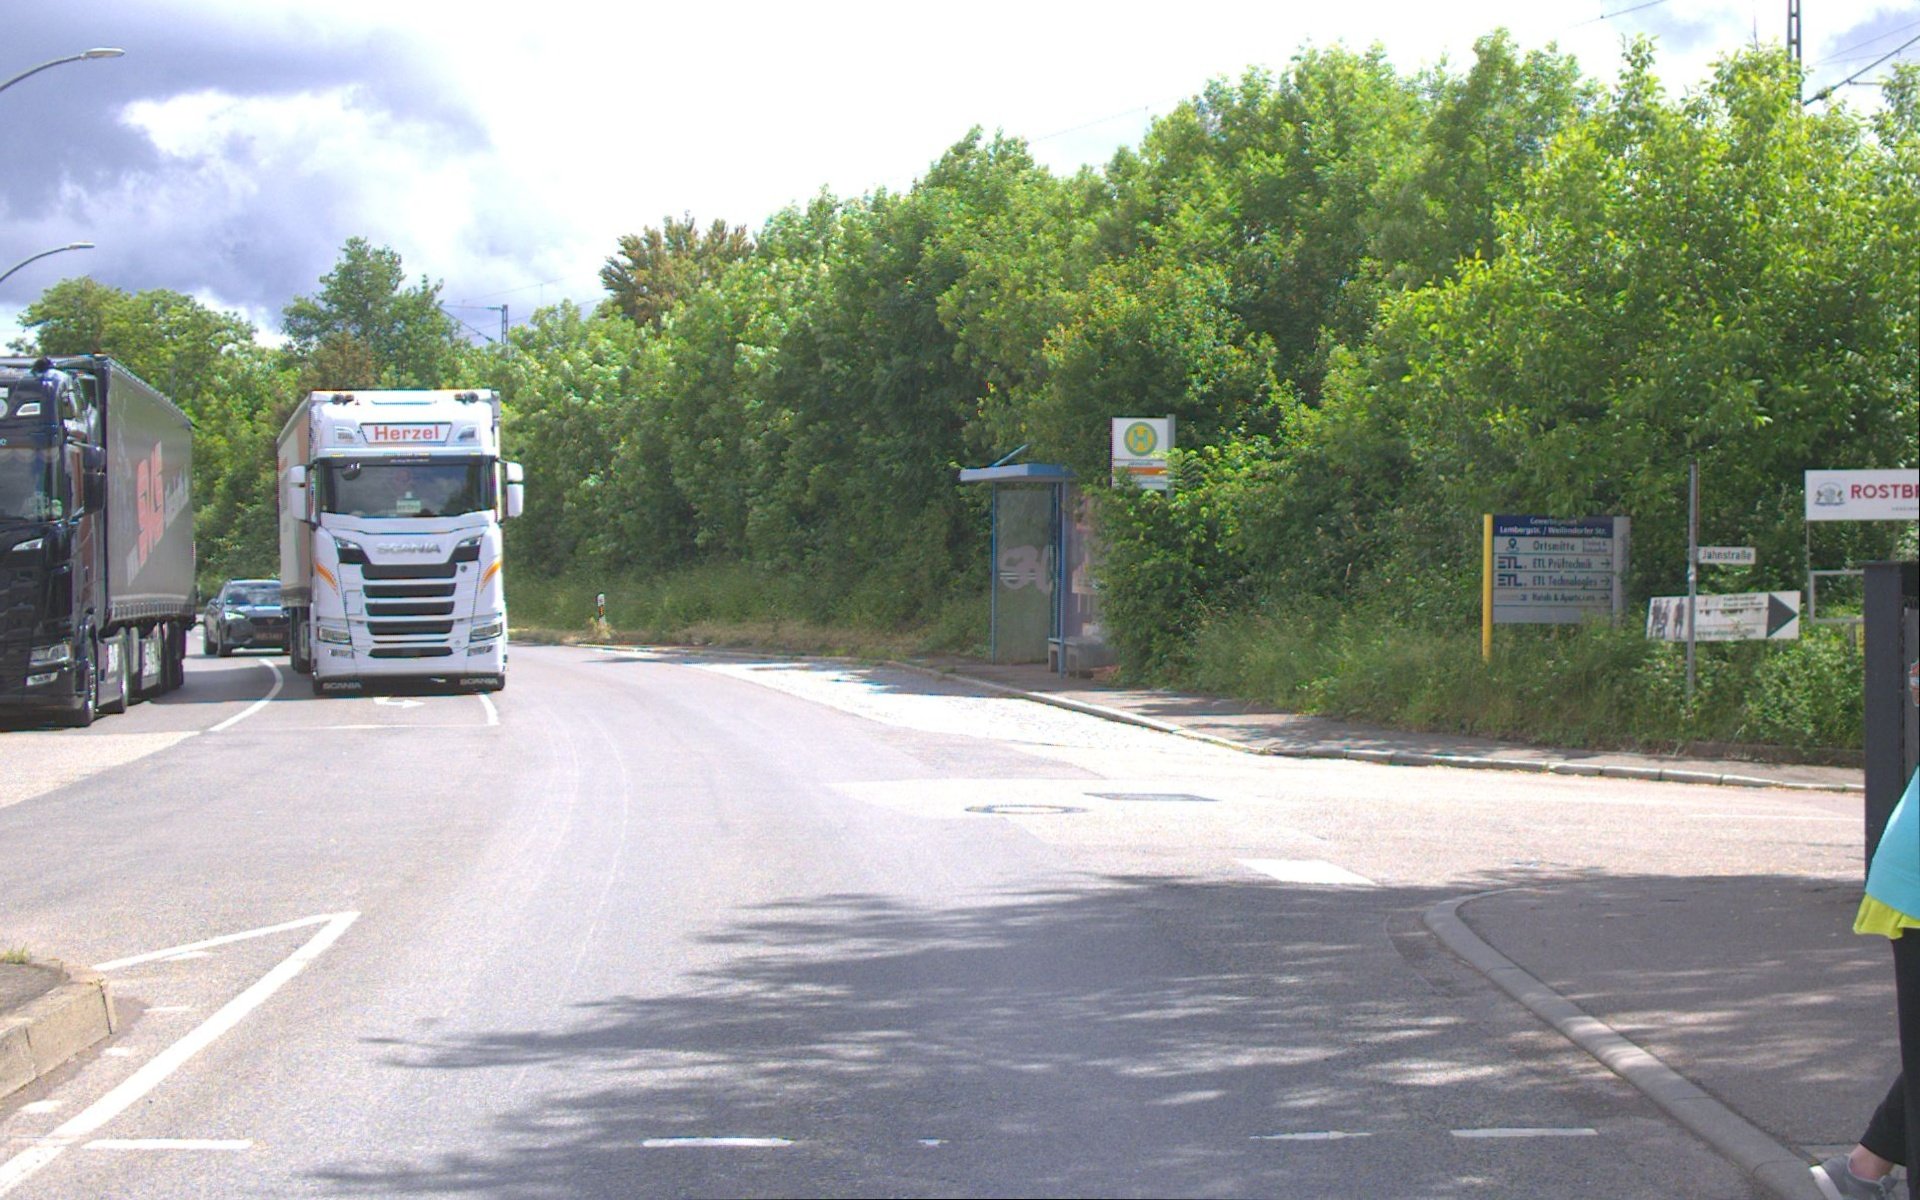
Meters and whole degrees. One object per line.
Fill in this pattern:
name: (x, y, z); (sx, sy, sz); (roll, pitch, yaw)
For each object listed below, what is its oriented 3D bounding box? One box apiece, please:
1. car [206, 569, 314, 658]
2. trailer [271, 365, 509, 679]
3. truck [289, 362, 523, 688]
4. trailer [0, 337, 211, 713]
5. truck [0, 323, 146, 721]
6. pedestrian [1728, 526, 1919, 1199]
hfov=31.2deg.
car: (-13.965, 0.252, 68.460); (1.993, 1.700, 4.001); (1, 0, -13)
trailer: (-9.058, -1.065, 53.163); (2.770, 4.131, 15.355); (1, 0, -12)
truck: (-7.514, -0.955, 46.190); (2.770, 4.105, 4.988); (1, 0, -12)
trailer: (-11.715, -0.846, 44.594); (2.798, 4.039, 15.560); (1, 0, -8)
truck: (-10.753, -0.818, 38.056); (2.798, 4.039, 6.502); (1, 0, -8)
pedestrian: (2.033, 0.616, 6.621); (0.838, 1.538, 0.734); (-3, 0, -2)
